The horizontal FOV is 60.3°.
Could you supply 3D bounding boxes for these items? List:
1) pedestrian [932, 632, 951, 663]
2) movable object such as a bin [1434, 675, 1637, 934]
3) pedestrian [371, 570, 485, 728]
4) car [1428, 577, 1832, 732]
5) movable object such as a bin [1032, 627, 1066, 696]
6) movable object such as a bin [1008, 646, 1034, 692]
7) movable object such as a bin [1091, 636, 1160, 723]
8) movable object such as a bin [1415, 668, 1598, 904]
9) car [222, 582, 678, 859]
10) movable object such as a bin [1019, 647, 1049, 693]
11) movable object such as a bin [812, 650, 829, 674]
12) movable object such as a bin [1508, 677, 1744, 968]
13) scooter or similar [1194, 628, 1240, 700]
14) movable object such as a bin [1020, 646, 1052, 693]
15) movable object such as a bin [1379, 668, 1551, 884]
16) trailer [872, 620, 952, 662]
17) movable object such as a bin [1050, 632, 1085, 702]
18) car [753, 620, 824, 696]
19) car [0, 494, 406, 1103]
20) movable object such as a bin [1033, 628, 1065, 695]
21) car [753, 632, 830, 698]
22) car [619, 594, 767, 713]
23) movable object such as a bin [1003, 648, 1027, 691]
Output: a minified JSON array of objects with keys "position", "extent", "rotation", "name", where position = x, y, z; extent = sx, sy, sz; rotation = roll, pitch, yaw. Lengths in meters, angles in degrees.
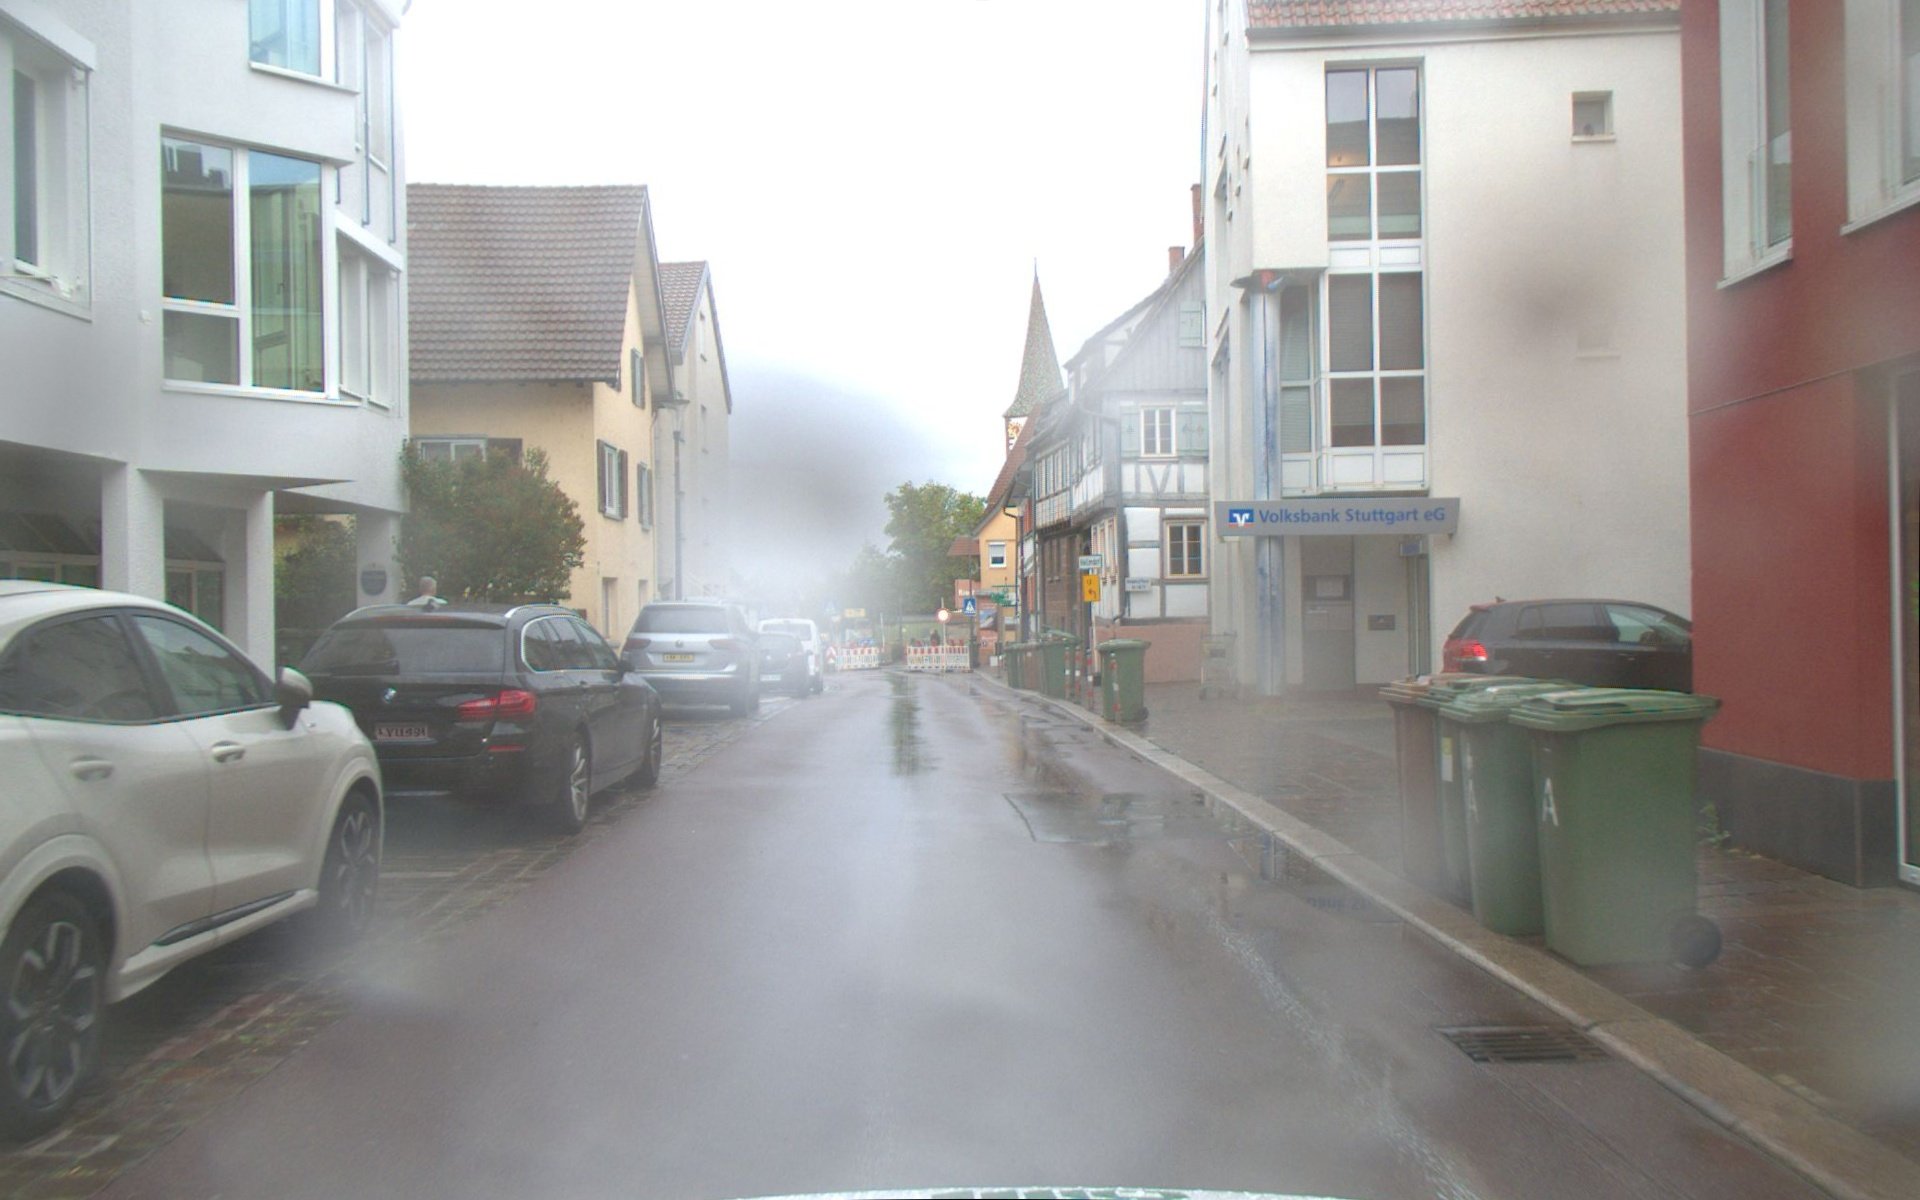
[{"position":[-1.086,2.773,96.819],"extent":[0.971,1.790,0.850],"rotation":[0,-2,-8],"name":"pedestrian"},{"position":[2.612,0.907,7.566],"extent":[0.662,1.103,0.697],"rotation":[-1,-1,0],"name":"movable object such as a bin"},{"position":[-6.353,0.576,19.818],"extent":[1.014,1.838,1.116],"rotation":[0,-1,-2],"name":"pedestrian"},{"position":[7.549,0.646,19.019],"extent":[3.902,1.541,1.913],"rotation":[-3,-3,9],"name":"car"},{"position":[1.736,1.197,32.187],"extent":[0.624,1.313,0.632],"rotation":[-1,-2,3],"name":"movable object such as a bin"},{"position":[1.560,1.756,42.130],"extent":[0.624,1.167,0.604],"rotation":[-1,-2,3],"name":"movable object such as a bin"},{"position":[2.244,1.073,22.526],"extent":[0.788,1.151,0.862],"rotation":[-1,-2,-3],"name":"movable object such as a bin"},{"position":[2.726,0.910,8.305],"extent":[0.695,1.114,0.614],"rotation":[-1,-1,0],"name":"movable object such as a bin"},{"position":[-3.320,0.713,11.834],"extent":[1.793,1.525,4.762],"rotation":[-2,-1,-1],"name":"car"},{"position":[1.820,1.735,40.797],"extent":[0.656,1.100,0.587],"rotation":[-2,-3,-4],"name":"movable object such as a bin"},{"position":[-6.228,2.759,73.941],"extent":[0.533,1.051,0.533],"rotation":[-5,-4,31],"name":"movable object such as a bin"},{"position":[2.722,0.885,6.827],"extent":[0.662,1.105,0.718],"rotation":[-1,-1,0],"name":"movable object such as a bin"},{"position":[4.307,1.077,27.787],"extent":[0.651,1.166,1.446],"rotation":[-1,-2,5],"name":"scooter or similar"},{"position":[1.814,1.657,39.605],"extent":[0.665,1.116,0.649],"rotation":[0,-2,-6],"name":"movable object such as a bin"},{"position":[2.717,0.931,8.951],"extent":[0.714,1.100,0.646],"rotation":[-1,-1,0],"name":"movable object such as a bin"},{"position":[-3.559,3.015,121.119],"extent":[5.671,2.999,1.997],"rotation":[-1,-2,-7],"name":"trailer"},{"position":[2.040,1.271,31.406],"extent":[0.624,1.313,0.632],"rotation":[-1,-2,3],"name":"movable object such as a bin"},{"position":[-4.453,1.522,43.342],"extent":[1.689,1.857,4.424],"rotation":[-1,-2,-4],"name":"car"},{"position":[-3.421,0.574,5.747],"extent":[1.755,1.578,3.997],"rotation":[0,-2,-2],"name":"car"},{"position":[1.771,1.224,32.875],"extent":[0.624,1.313,0.632],"rotation":[-1,-2,3],"name":"movable object such as a bin"},{"position":[-3.805,1.488,37.734],"extent":[1.648,1.413,3.820],"rotation":[-1,-2,-5],"name":"car"},{"position":[-3.878,0.815,24.654],"extent":[1.744,1.596,4.404],"rotation":[-1,-2,-4],"name":"car"},{"position":[1.509,1.889,45.119],"extent":[0.597,1.147,0.599],"rotation":[-1,-2,-2],"name":"movable object such as a bin"}]
